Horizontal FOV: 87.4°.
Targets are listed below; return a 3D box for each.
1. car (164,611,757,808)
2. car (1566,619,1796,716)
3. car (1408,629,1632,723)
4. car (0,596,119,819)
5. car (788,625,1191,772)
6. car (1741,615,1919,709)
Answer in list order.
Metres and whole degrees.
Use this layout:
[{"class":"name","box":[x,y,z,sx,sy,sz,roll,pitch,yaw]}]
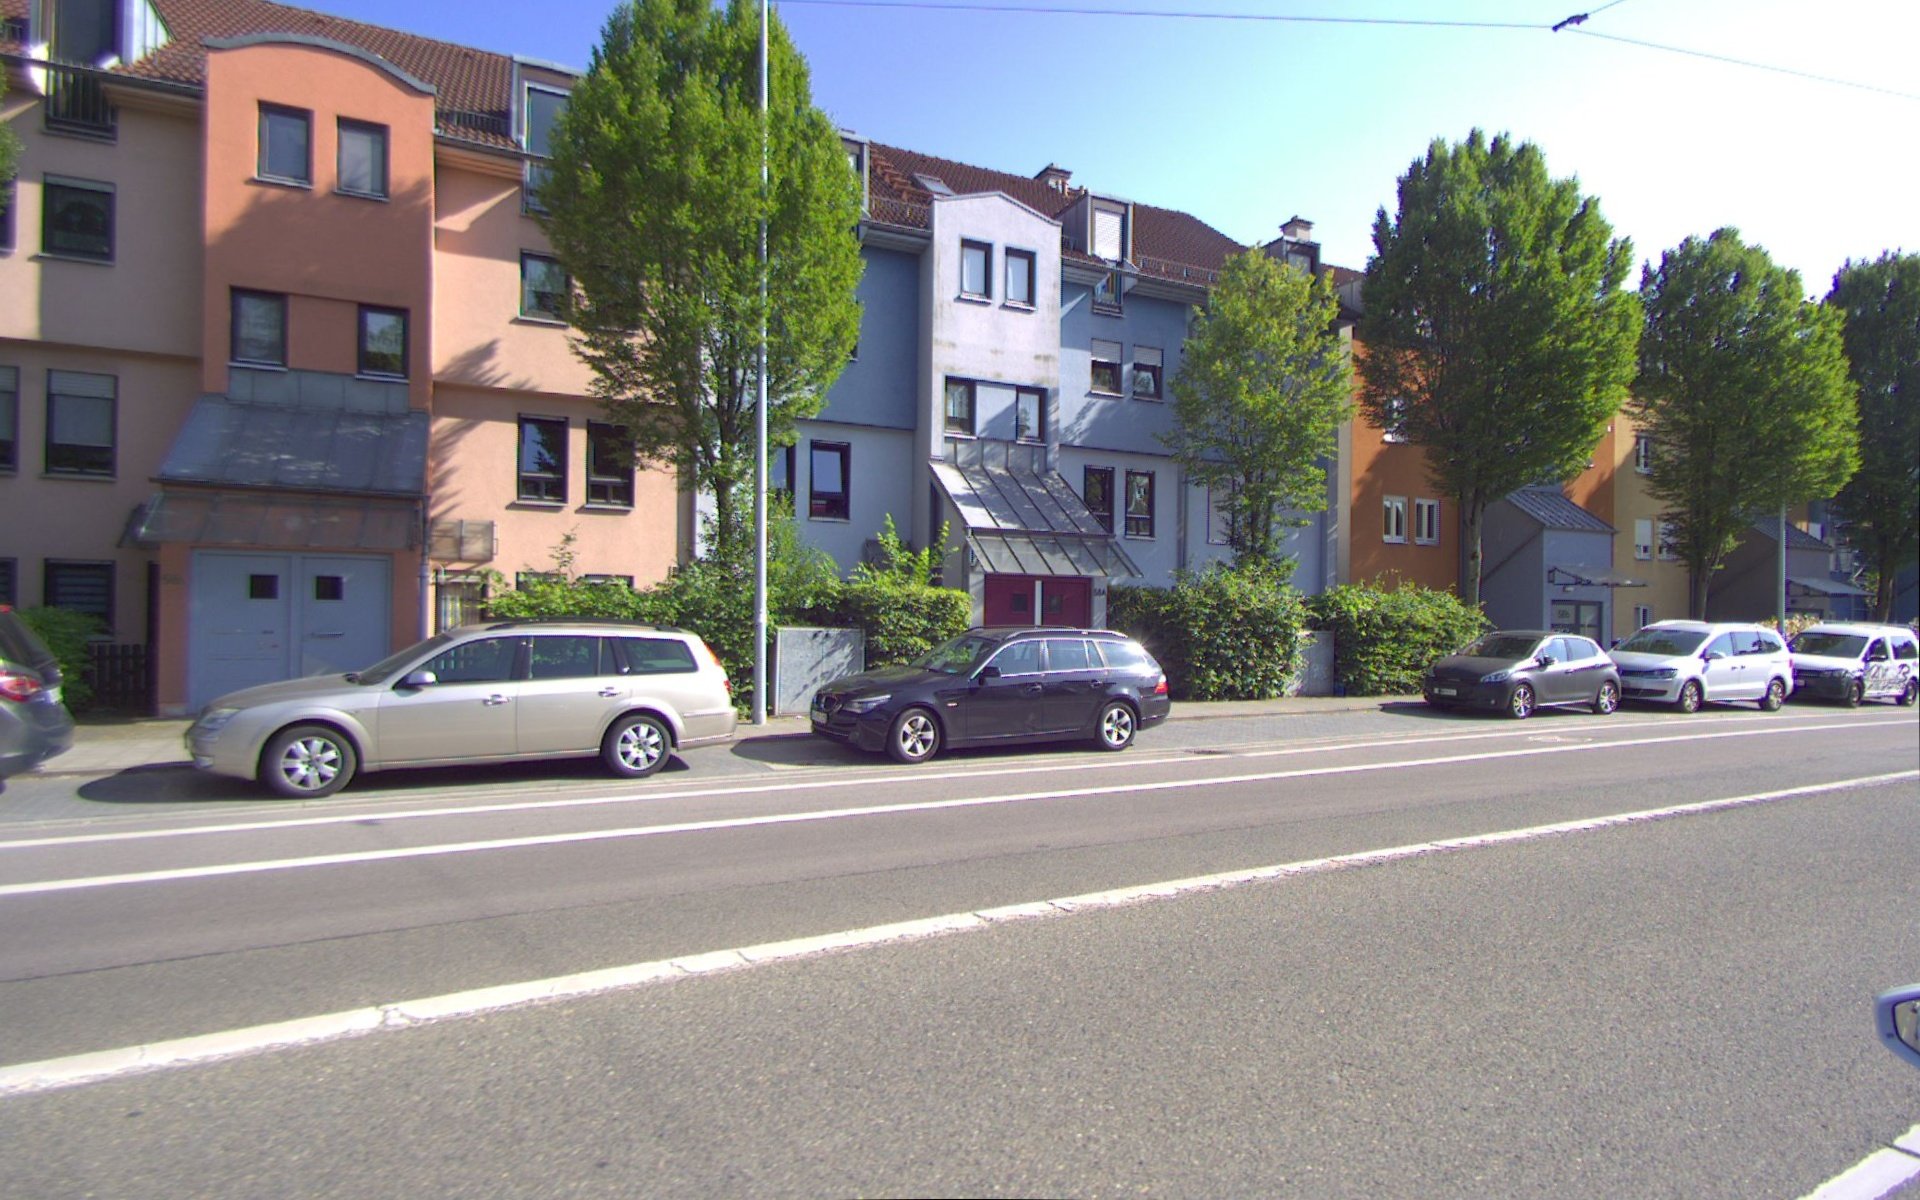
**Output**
[{"class":"car","box":[-4.596,0.953,9.854,4.789,1.491,1.703,2,0,-31]},{"class":"car","box":[14.604,1.303,20.308,4.759,1.723,1.663,1,1,-26]},{"class":"car","box":[10.209,1.318,18.264,4.007,1.485,1.609,1,1,-28]},{"class":"car","box":[-8.948,0.763,7.228,4.256,1.595,1.750,2,1,-35]},{"class":"car","box":[0.444,1.121,12.616,4.848,1.491,1.703,1,1,-28]},{"class":"car","box":[20.463,1.397,23.385,4.521,1.871,1.756,1,4,-27]}]
